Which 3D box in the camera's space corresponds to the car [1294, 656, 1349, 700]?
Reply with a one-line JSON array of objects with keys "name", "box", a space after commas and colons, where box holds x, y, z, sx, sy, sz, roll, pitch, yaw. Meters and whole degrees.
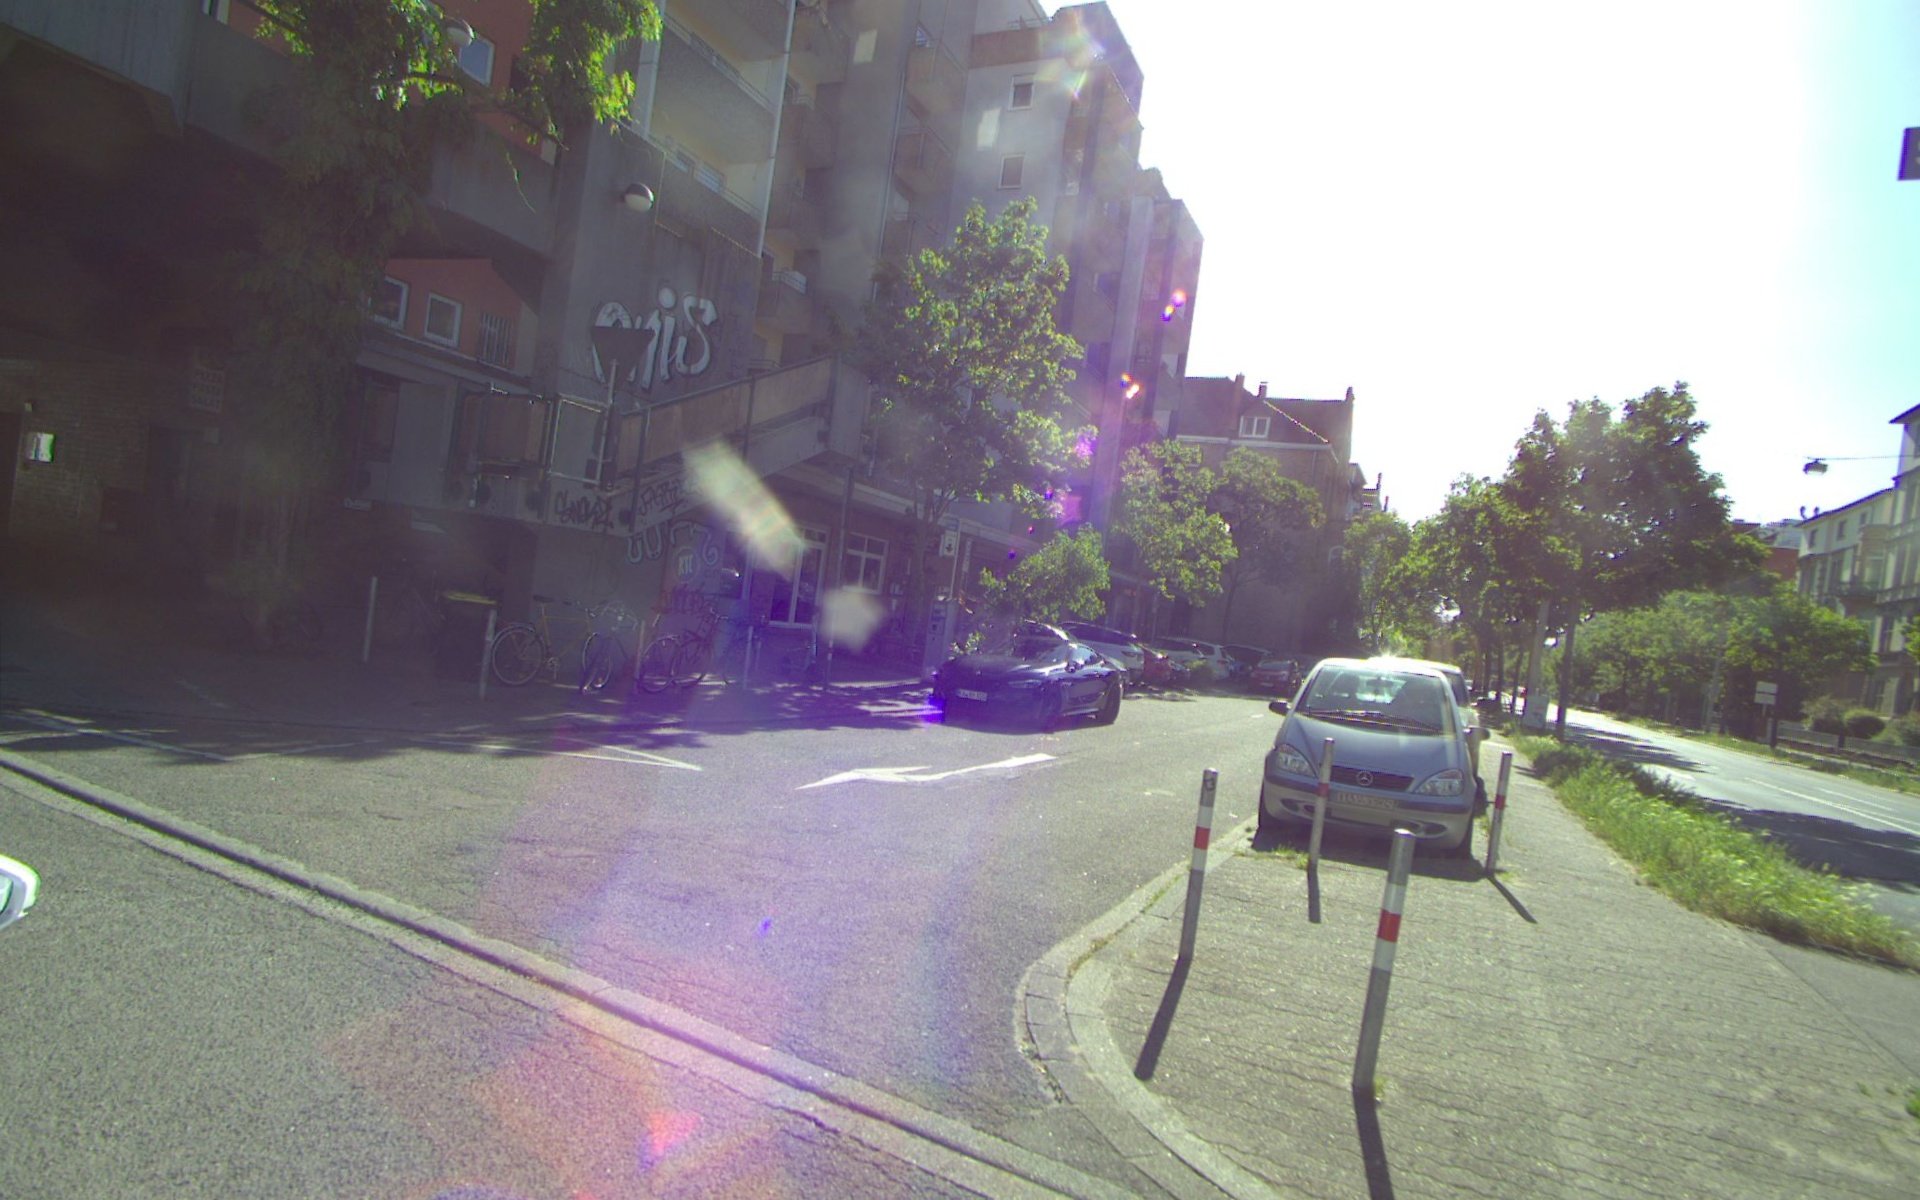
[{"name": "car", "box": [16.361, 3.493, 45.380, 1.737, 1.666, 3.997, 8, 0, 26]}]

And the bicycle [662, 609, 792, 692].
[{"name": "bicycle", "box": [-3.179, 0.725, 13.875, 0.409, 1.013, 1.797, 12, 2, 35]}]

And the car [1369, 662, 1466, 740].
[{"name": "car", "box": [11.657, 2.500, 25.485, 1.837, 1.606, 3.995, 6, -1, 28]}]

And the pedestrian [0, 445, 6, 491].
[{"name": "pedestrian", "box": [-13.668, -1.342, 13.568, 0.744, 1.720, 0.796, 11, 2, 25]}]

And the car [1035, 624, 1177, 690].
[{"name": "car", "box": [4.554, 1.749, 31.327, 3.927, 1.442, 1.687, 8, 0, 23]}]

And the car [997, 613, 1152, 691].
[{"name": "car", "box": [3.322, 1.482, 29.076, 3.927, 1.627, 1.841, 8, 0, 23]}]

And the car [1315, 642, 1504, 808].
[{"name": "car", "box": [6.206, 1.579, 13.744, 1.841, 1.647, 4.500, 7, 0, 27]}]

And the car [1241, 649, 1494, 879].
[{"name": "car", "box": [3.878, 1.370, 9.585, 1.694, 1.537, 3.530, 7, 0, 24]}]

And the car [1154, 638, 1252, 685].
[{"name": "car", "box": [10.924, 2.734, 45.149, 3.927, 1.487, 1.608, 8, 0, 23]}]

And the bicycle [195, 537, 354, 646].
[{"name": "bicycle", "box": [-7.958, -0.107, 11.668, 1.768, 1.014, 0.484, 8, 2, 18]}]

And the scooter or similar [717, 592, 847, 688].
[{"name": "scooter or similar", "box": [-2.938, 0.648, 16.577, 1.937, 1.293, 0.630, 8, 1, 22]}]

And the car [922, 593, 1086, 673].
[{"name": "car", "box": [1.193, 0.890, 27.296, 3.927, 1.570, 1.769, 8, 0, 23]}]

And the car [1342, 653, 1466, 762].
[{"name": "car", "box": [8.777, 2.026, 19.811, 1.861, 1.682, 4.527, 6, -1, 26]}]

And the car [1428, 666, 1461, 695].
[{"name": "car", "box": [39.231, 6.503, 81.422, 1.965, 2.038, 4.200, 7, 0, 28]}]

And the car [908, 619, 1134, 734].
[{"name": "car", "box": [1.176, 1.239, 16.570, 1.864, 1.415, 4.524, 7, -1, 28]}]

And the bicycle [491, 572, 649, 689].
[{"name": "bicycle", "box": [-4.734, 0.389, 12.274, 1.622, 1.252, 0.455, 7, 1, -42]}]

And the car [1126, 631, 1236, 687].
[{"name": "car", "box": [8.955, 2.373, 40.723, 3.927, 1.649, 1.687, 8, 0, 23]}]

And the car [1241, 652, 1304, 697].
[{"name": "car", "box": [12.700, 3.005, 40.758, 1.662, 1.487, 3.997, 8, 0, 26]}]

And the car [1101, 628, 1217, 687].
[{"name": "car", "box": [7.624, 2.198, 38.504, 3.927, 1.649, 1.687, 8, 0, 23]}]

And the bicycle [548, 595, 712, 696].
[{"name": "bicycle", "box": [-3.959, 0.581, 12.180, 0.409, 1.044, 1.793, 12, 3, 42]}]

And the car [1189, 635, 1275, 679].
[{"name": "car", "box": [14.023, 2.930, 51.925, 3.927, 1.649, 1.687, 8, 0, 23]}]

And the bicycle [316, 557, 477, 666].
[{"name": "bicycle", "box": [-6.665, 0.128, 11.917, 1.587, 1.014, 0.415, 9, 2, 3]}]

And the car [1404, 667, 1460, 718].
[{"name": "car", "box": [18.876, 3.662, 40.229, 1.737, 1.666, 3.997, 8, 0, 26]}]

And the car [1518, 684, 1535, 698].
[{"name": "car", "box": [85.360, 13.710, 151.566, 1.923, 1.729, 3.996, 8, 0, 27]}]

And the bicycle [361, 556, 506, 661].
[{"name": "bicycle", "box": [-6.604, 0.099, 12.609, 1.768, 1.014, 0.415, 10, 3, 19]}]
